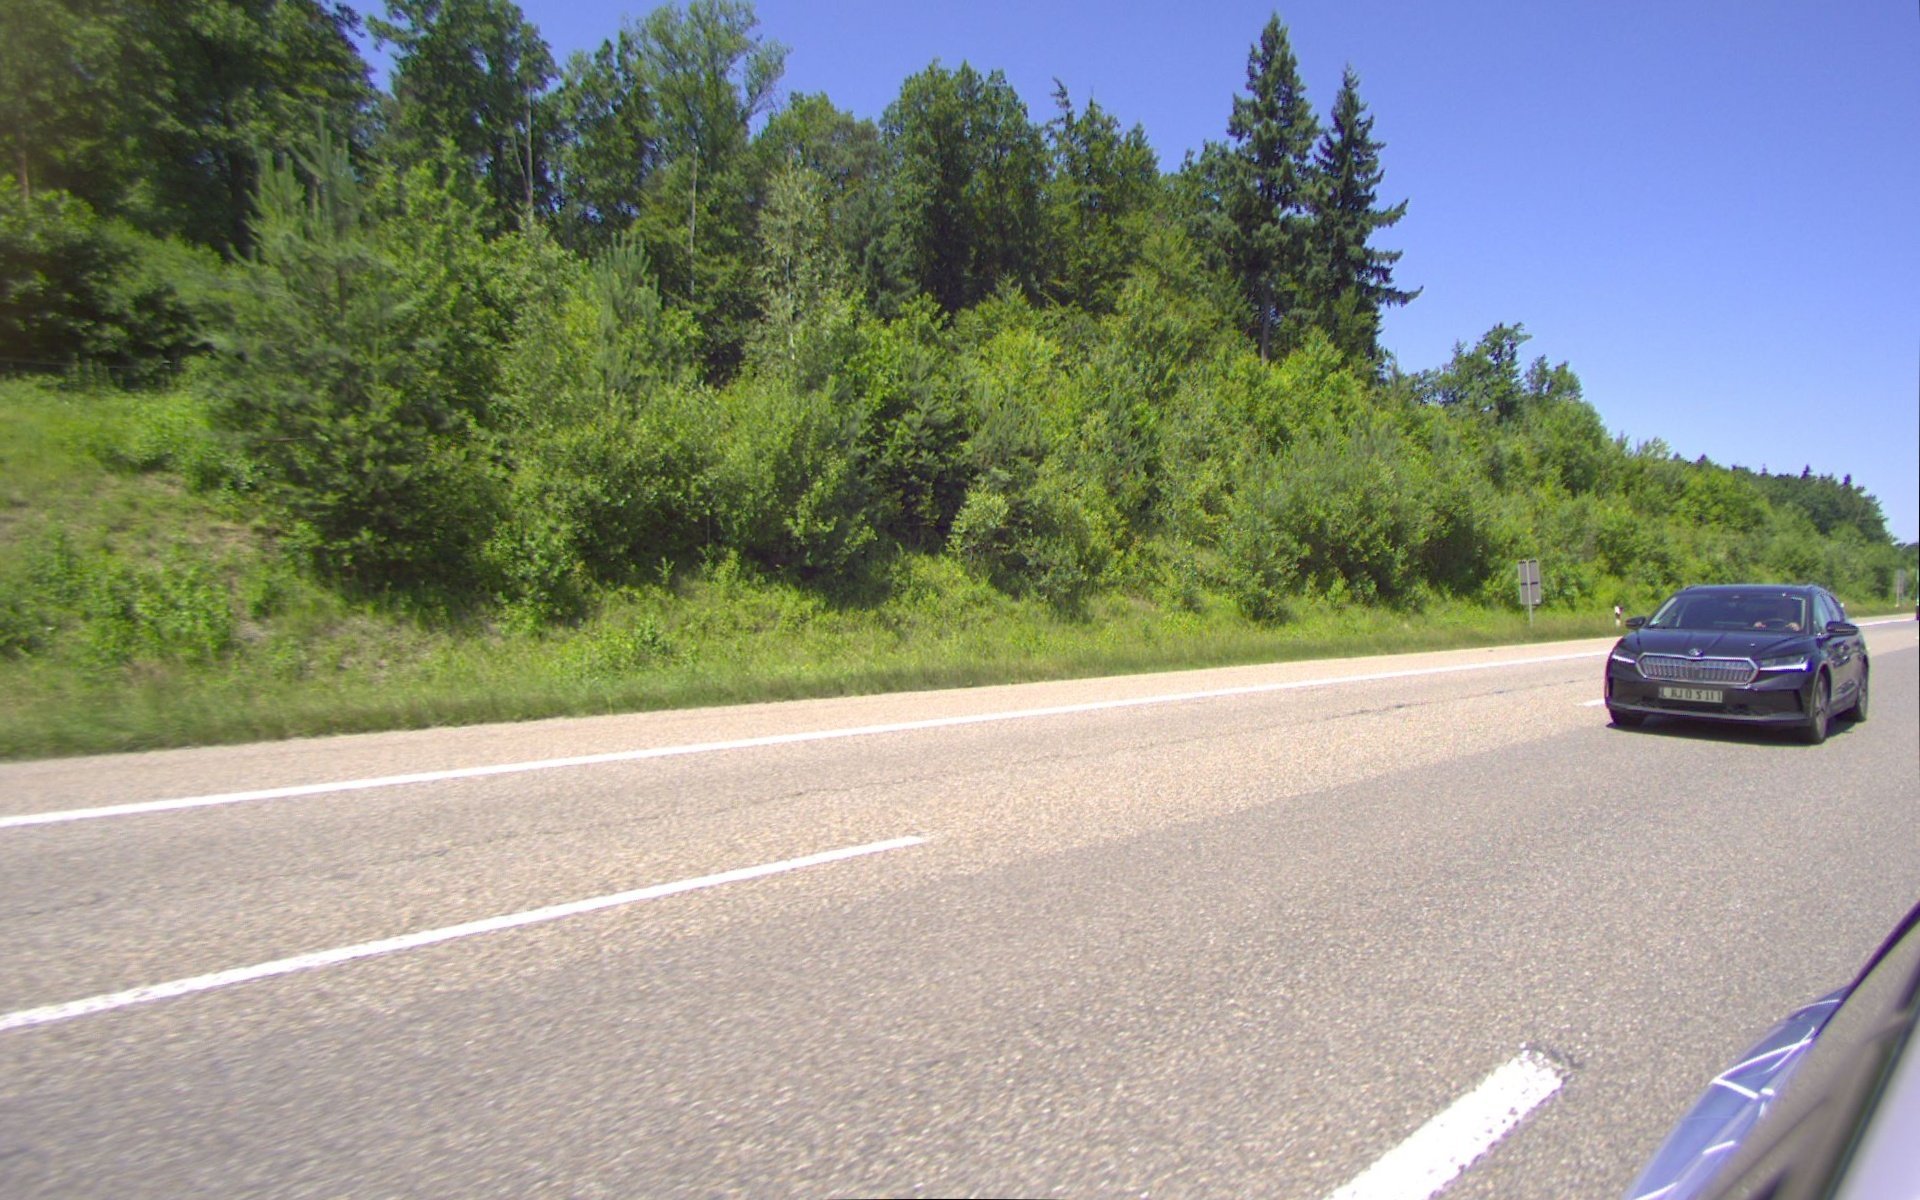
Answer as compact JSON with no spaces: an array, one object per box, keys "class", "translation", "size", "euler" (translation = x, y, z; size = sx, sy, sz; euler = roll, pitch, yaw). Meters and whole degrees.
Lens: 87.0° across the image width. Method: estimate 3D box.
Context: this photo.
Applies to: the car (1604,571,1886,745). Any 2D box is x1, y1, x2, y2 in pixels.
[{"class":"car","translation":[9.242,0.493,11.768],"size":[4.384,1.639,1.986],"euler":[-1,2,-44]}]
